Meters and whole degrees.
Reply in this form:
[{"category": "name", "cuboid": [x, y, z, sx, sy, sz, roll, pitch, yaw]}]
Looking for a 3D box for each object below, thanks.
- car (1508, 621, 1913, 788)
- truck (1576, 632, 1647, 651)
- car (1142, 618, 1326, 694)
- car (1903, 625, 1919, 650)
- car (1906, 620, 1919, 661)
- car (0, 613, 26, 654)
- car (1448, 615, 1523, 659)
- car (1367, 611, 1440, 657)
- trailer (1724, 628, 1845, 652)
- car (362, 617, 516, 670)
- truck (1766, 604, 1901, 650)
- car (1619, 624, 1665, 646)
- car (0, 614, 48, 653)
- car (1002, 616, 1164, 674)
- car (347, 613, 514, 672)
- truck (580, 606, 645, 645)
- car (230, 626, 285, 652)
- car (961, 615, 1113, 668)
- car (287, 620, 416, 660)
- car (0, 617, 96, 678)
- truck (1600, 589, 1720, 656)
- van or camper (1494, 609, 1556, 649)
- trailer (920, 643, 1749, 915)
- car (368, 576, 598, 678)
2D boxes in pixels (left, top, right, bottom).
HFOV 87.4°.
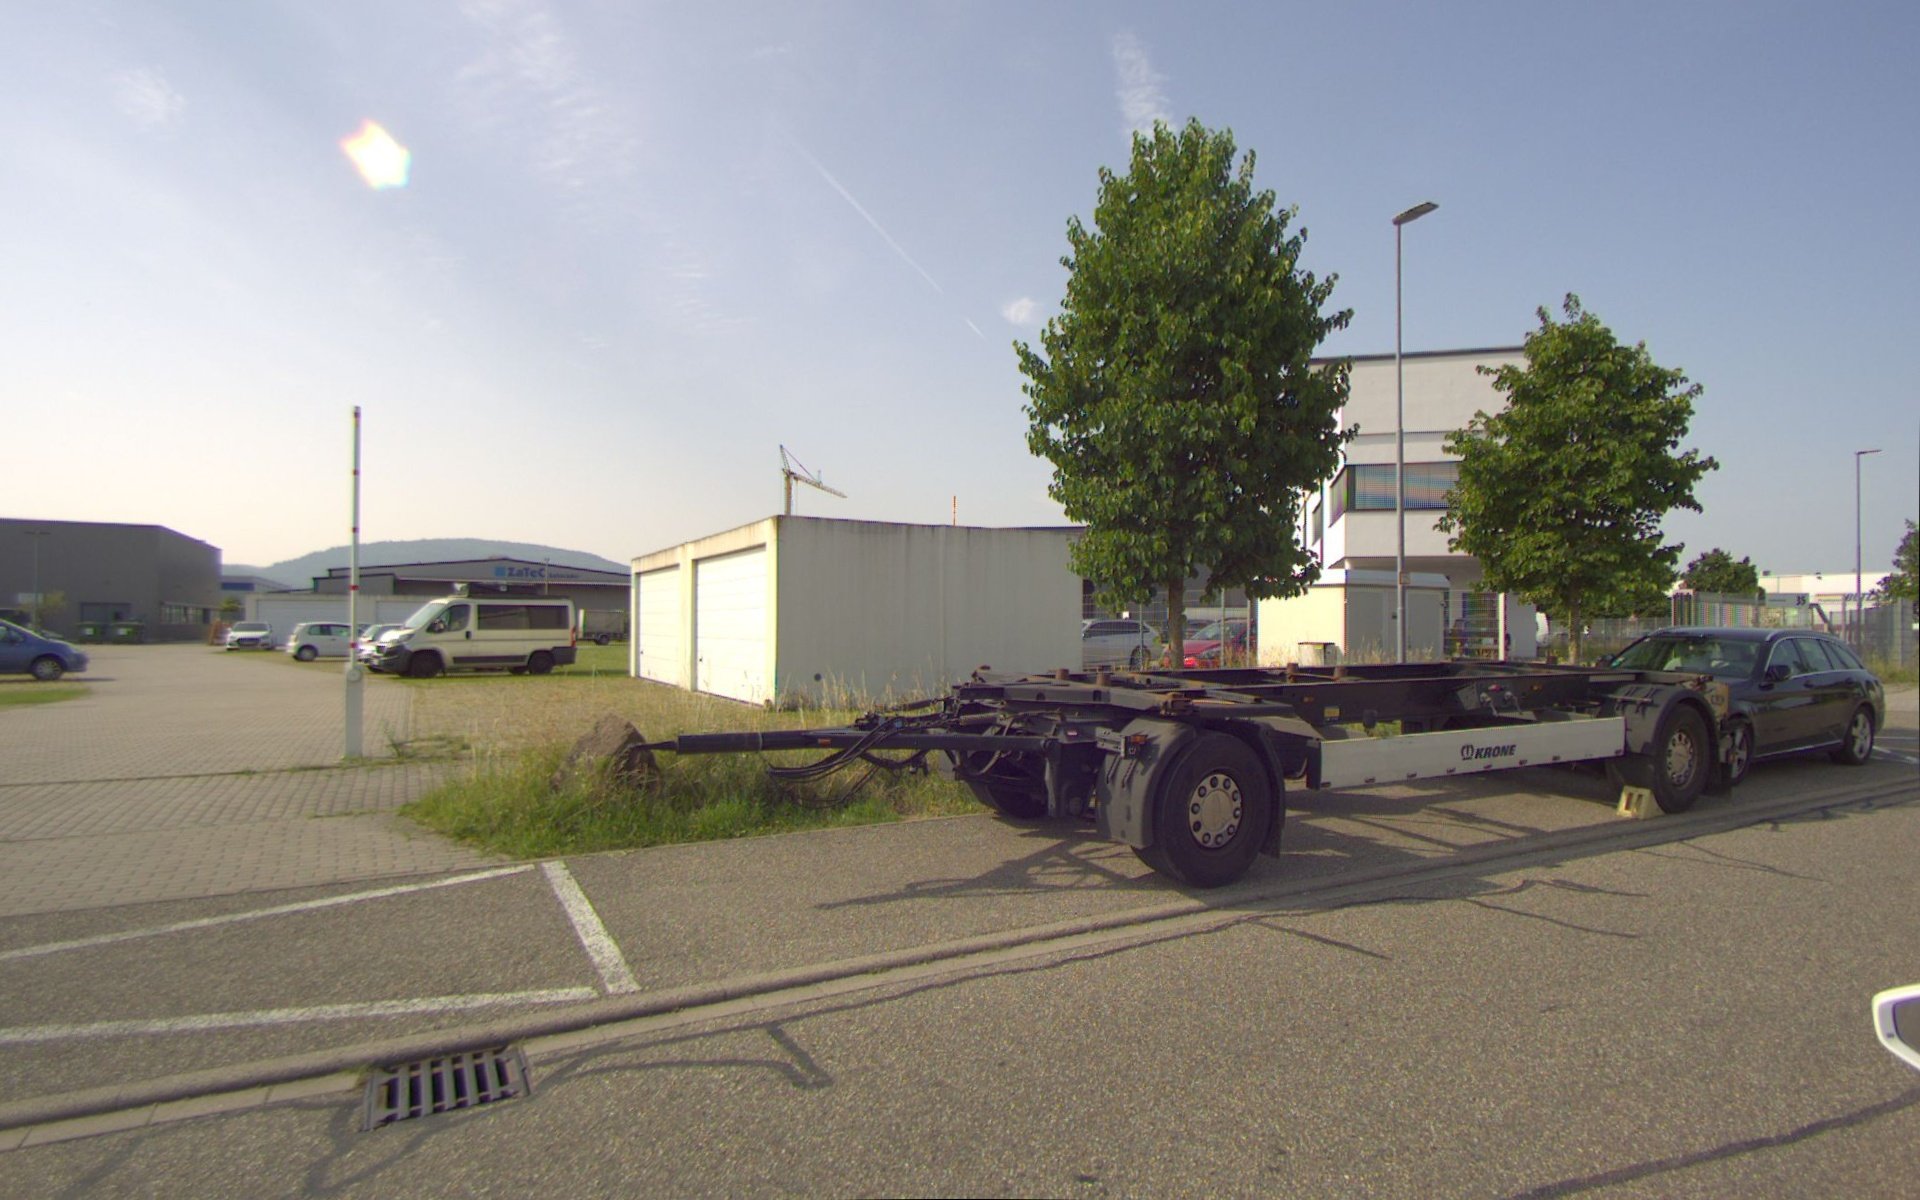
[{"category": "car", "cuboid": [8.385, 0.999, 11.170, 4.378, 1.486, 1.985, 1, 0, -29]}, {"category": "truck", "cuboid": [48.162, 3.043, 74.424, 2.481, 1.282, 6.530, 0, -1, 15]}, {"category": "car", "cuboid": [6.303, 1.202, 22.960, 4.260, 1.545, 1.759, 0, -1, -35]}, {"category": "car", "cuboid": [60.274, 2.303, 61.323, 3.932, 1.496, 2.167, 1, -1, -14]}, {"category": "car", "cuboid": [46.624, 1.914, 46.693, 1.960, 1.924, 4.469, 0, -1, 16]}, {"category": "car", "cuboid": [-40.447, 1.309, 40.156, 4.097, 1.634, 1.835, 2, -2, -26]}, {"category": "car", "cuboid": [18.252, 1.273, 35.031, 1.532, 1.434, 3.923, 0, -1, 16]}, {"category": "car", "cuboid": [15.553, 1.173, 35.383, 1.831, 1.507, 4.002, 0, -1, 16]}, {"category": "trailer", "cuboid": [55.177, 2.643, 67.562, 2.579, 1.406, 9.459, -2, -2, 15]}, {"category": "car", "cuboid": [-16.918, 1.416, 32.715, 4.119, 1.634, 1.825, 3, -3, -40]}, {"category": "truck", "cuboid": [80.867, 2.478, 93.252, 2.430, 4.025, 9.237, 1, -1, -31]}, {"category": "car", "cuboid": [56.495, 2.904, 83.306, 1.960, 1.795, 4.002, 0, -1, 15]}, {"category": "car", "cuboid": [-41.576, 1.399, 42.446, 4.097, 1.634, 1.835, 2, -2, -26]}, {"category": "car", "cuboid": [3.533, 1.233, 28.744, 4.425, 1.514, 1.824, 0, -1, -30]}, {"category": "car", "cuboid": [-15.826, 1.274, 30.104, 4.119, 1.634, 1.825, 3, -3, -40]}, {"category": "truck", "cuboid": [-23.249, 1.689, 67.138, 3.944, 2.547, 1.988, 1, -1, -24]}, {"category": "car", "cuboid": [-35.409, 1.969, 50.699, 1.597, 1.228, 3.662, 2, -2, -24]}, {"category": "car", "cuboid": [2.401, 1.245, 31.110, 4.425, 1.514, 1.926, 0, -1, -30]}, {"category": "car", "cuboid": [-23.768, 1.566, 39.308, 4.119, 1.500, 1.561, 3, -3, -40]}, {"category": "car", "cuboid": [-23.811, 1.145, 24.570, 3.972, 1.461, 1.877, 2, -2, -43]}, {"category": "truck", "cuboid": [45.921, 1.505, 66.439, 2.582, 3.981, 12.924, 1, -1, 17]}, {"category": "van or camper", "cuboid": [37.851, 1.940, 67.395, 2.266, 2.594, 4.957, 0, -1, 12]}, {"category": "trailer", "cuboid": [3.302, 1.055, 7.953, 7.071, 1.249, 2.120, 1, 0, -30]}, {"category": "car", "cuboid": [-13.186, 0.790, 28.004, 5.416, 2.580, 2.034, 3, -2, -40]}]
